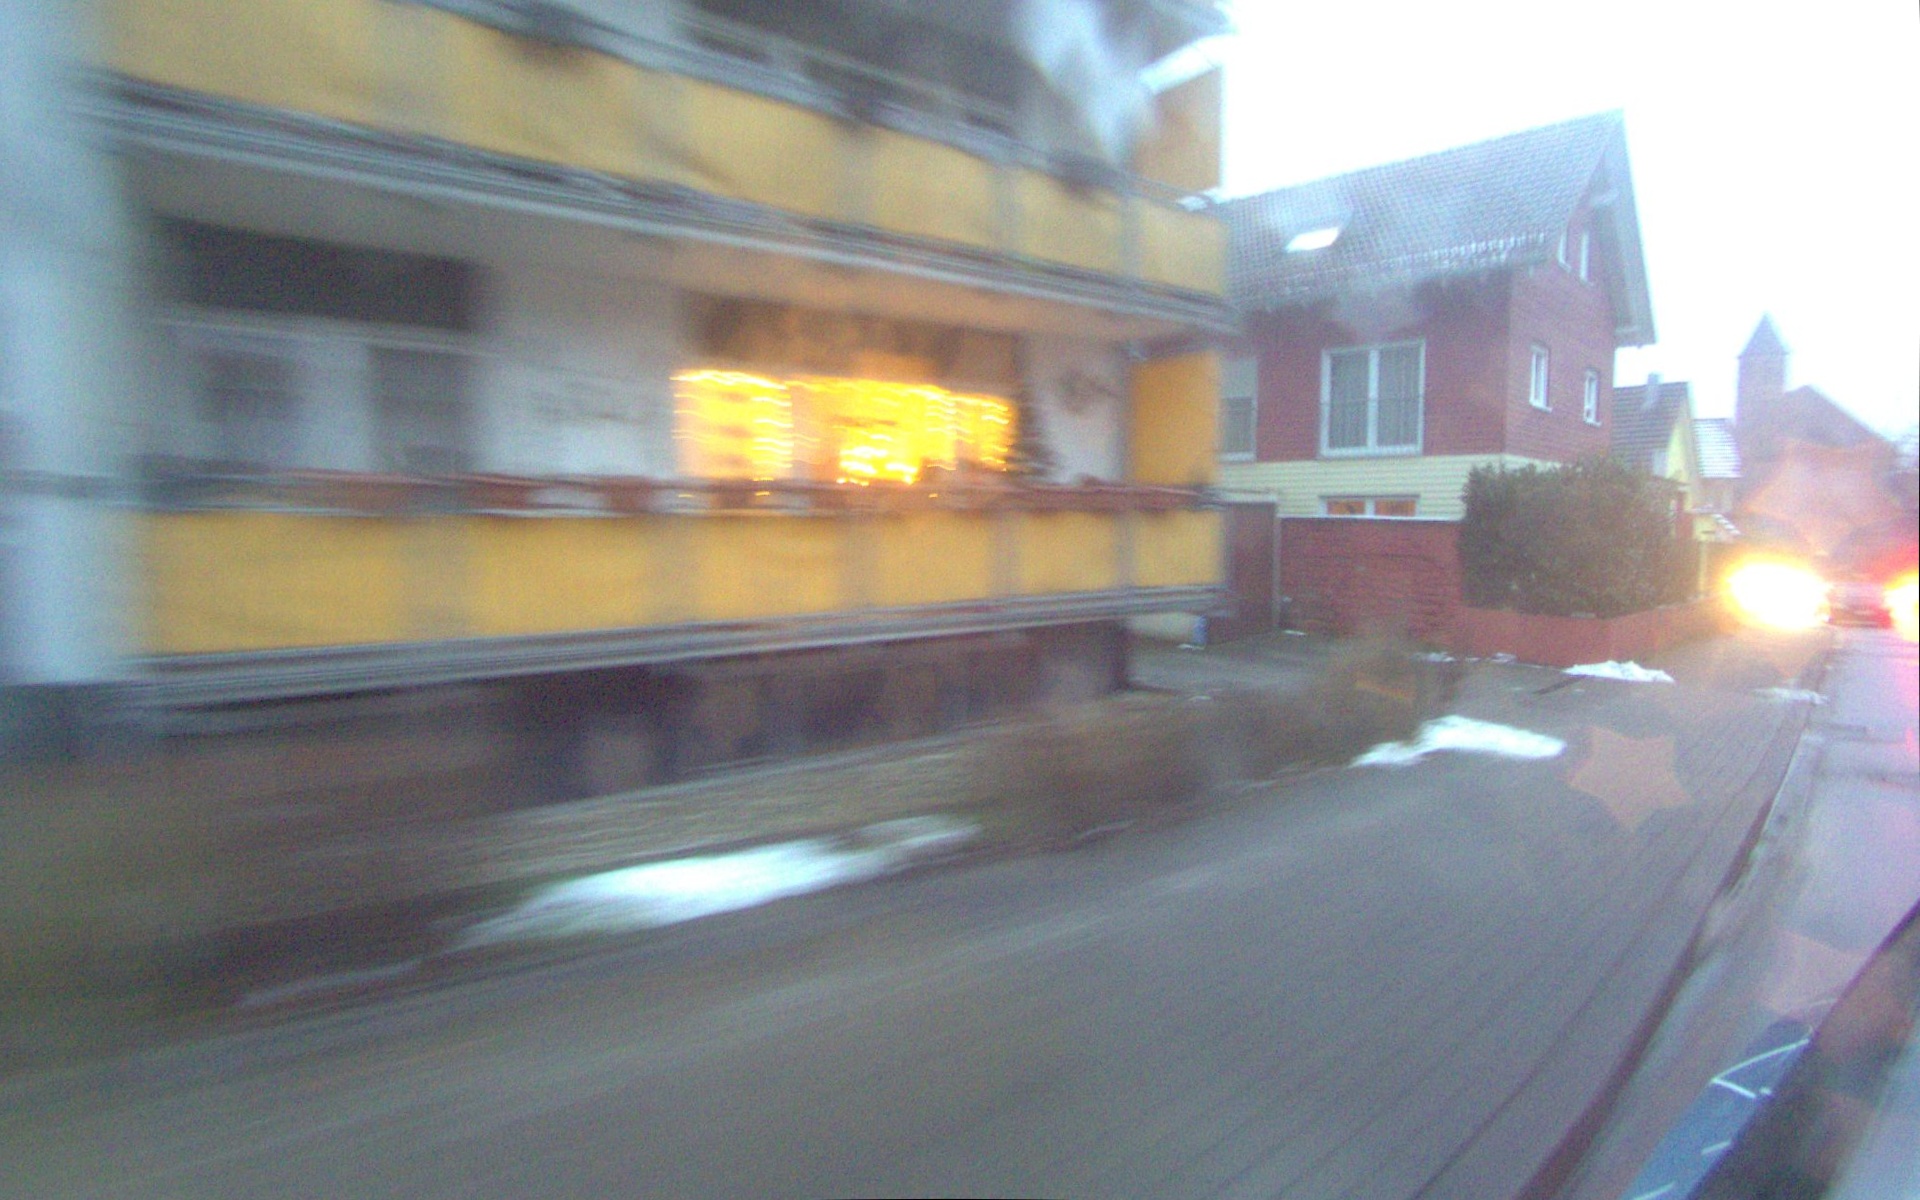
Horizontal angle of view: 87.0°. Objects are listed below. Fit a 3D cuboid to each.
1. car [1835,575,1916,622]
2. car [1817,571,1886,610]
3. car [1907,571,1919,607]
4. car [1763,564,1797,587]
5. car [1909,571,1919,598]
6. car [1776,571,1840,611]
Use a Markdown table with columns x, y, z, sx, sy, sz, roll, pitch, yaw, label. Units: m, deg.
| x | y | z | sx | sy | sz | roll | pitch | yaw | label |
| --- | --- | --- | --- | --- | --- | --- | --- | --- | --- |
| 32.774 | -0.109 | 36.332 | 1.722 | 1.449 | 4.735 | 2 | 3 | 37 | car |
| 36.571 | -0.440 | 41.610 | 1.786 | 1.457 | 4.561 | 2 | 3 | 38 | car |
| 45.486 | -0.521 | 47.120 | 1.756 | 1.600 | 3.943 | 2 | 3 | 40 | car |
| 57.592 | -1.714 | 71.131 | 1.756 | 1.516 | 3.947 | 1 | 2 | 38 | car |
| 59.674 | -0.913 | 60.058 | 4.442 | 1.598 | 1.980 | 1 | 3 | 29 | car |
| 46.747 | -0.552 | 55.853 | 1.983 | 2.038 | 3.959 | 1 | 3 | 30 | car |
